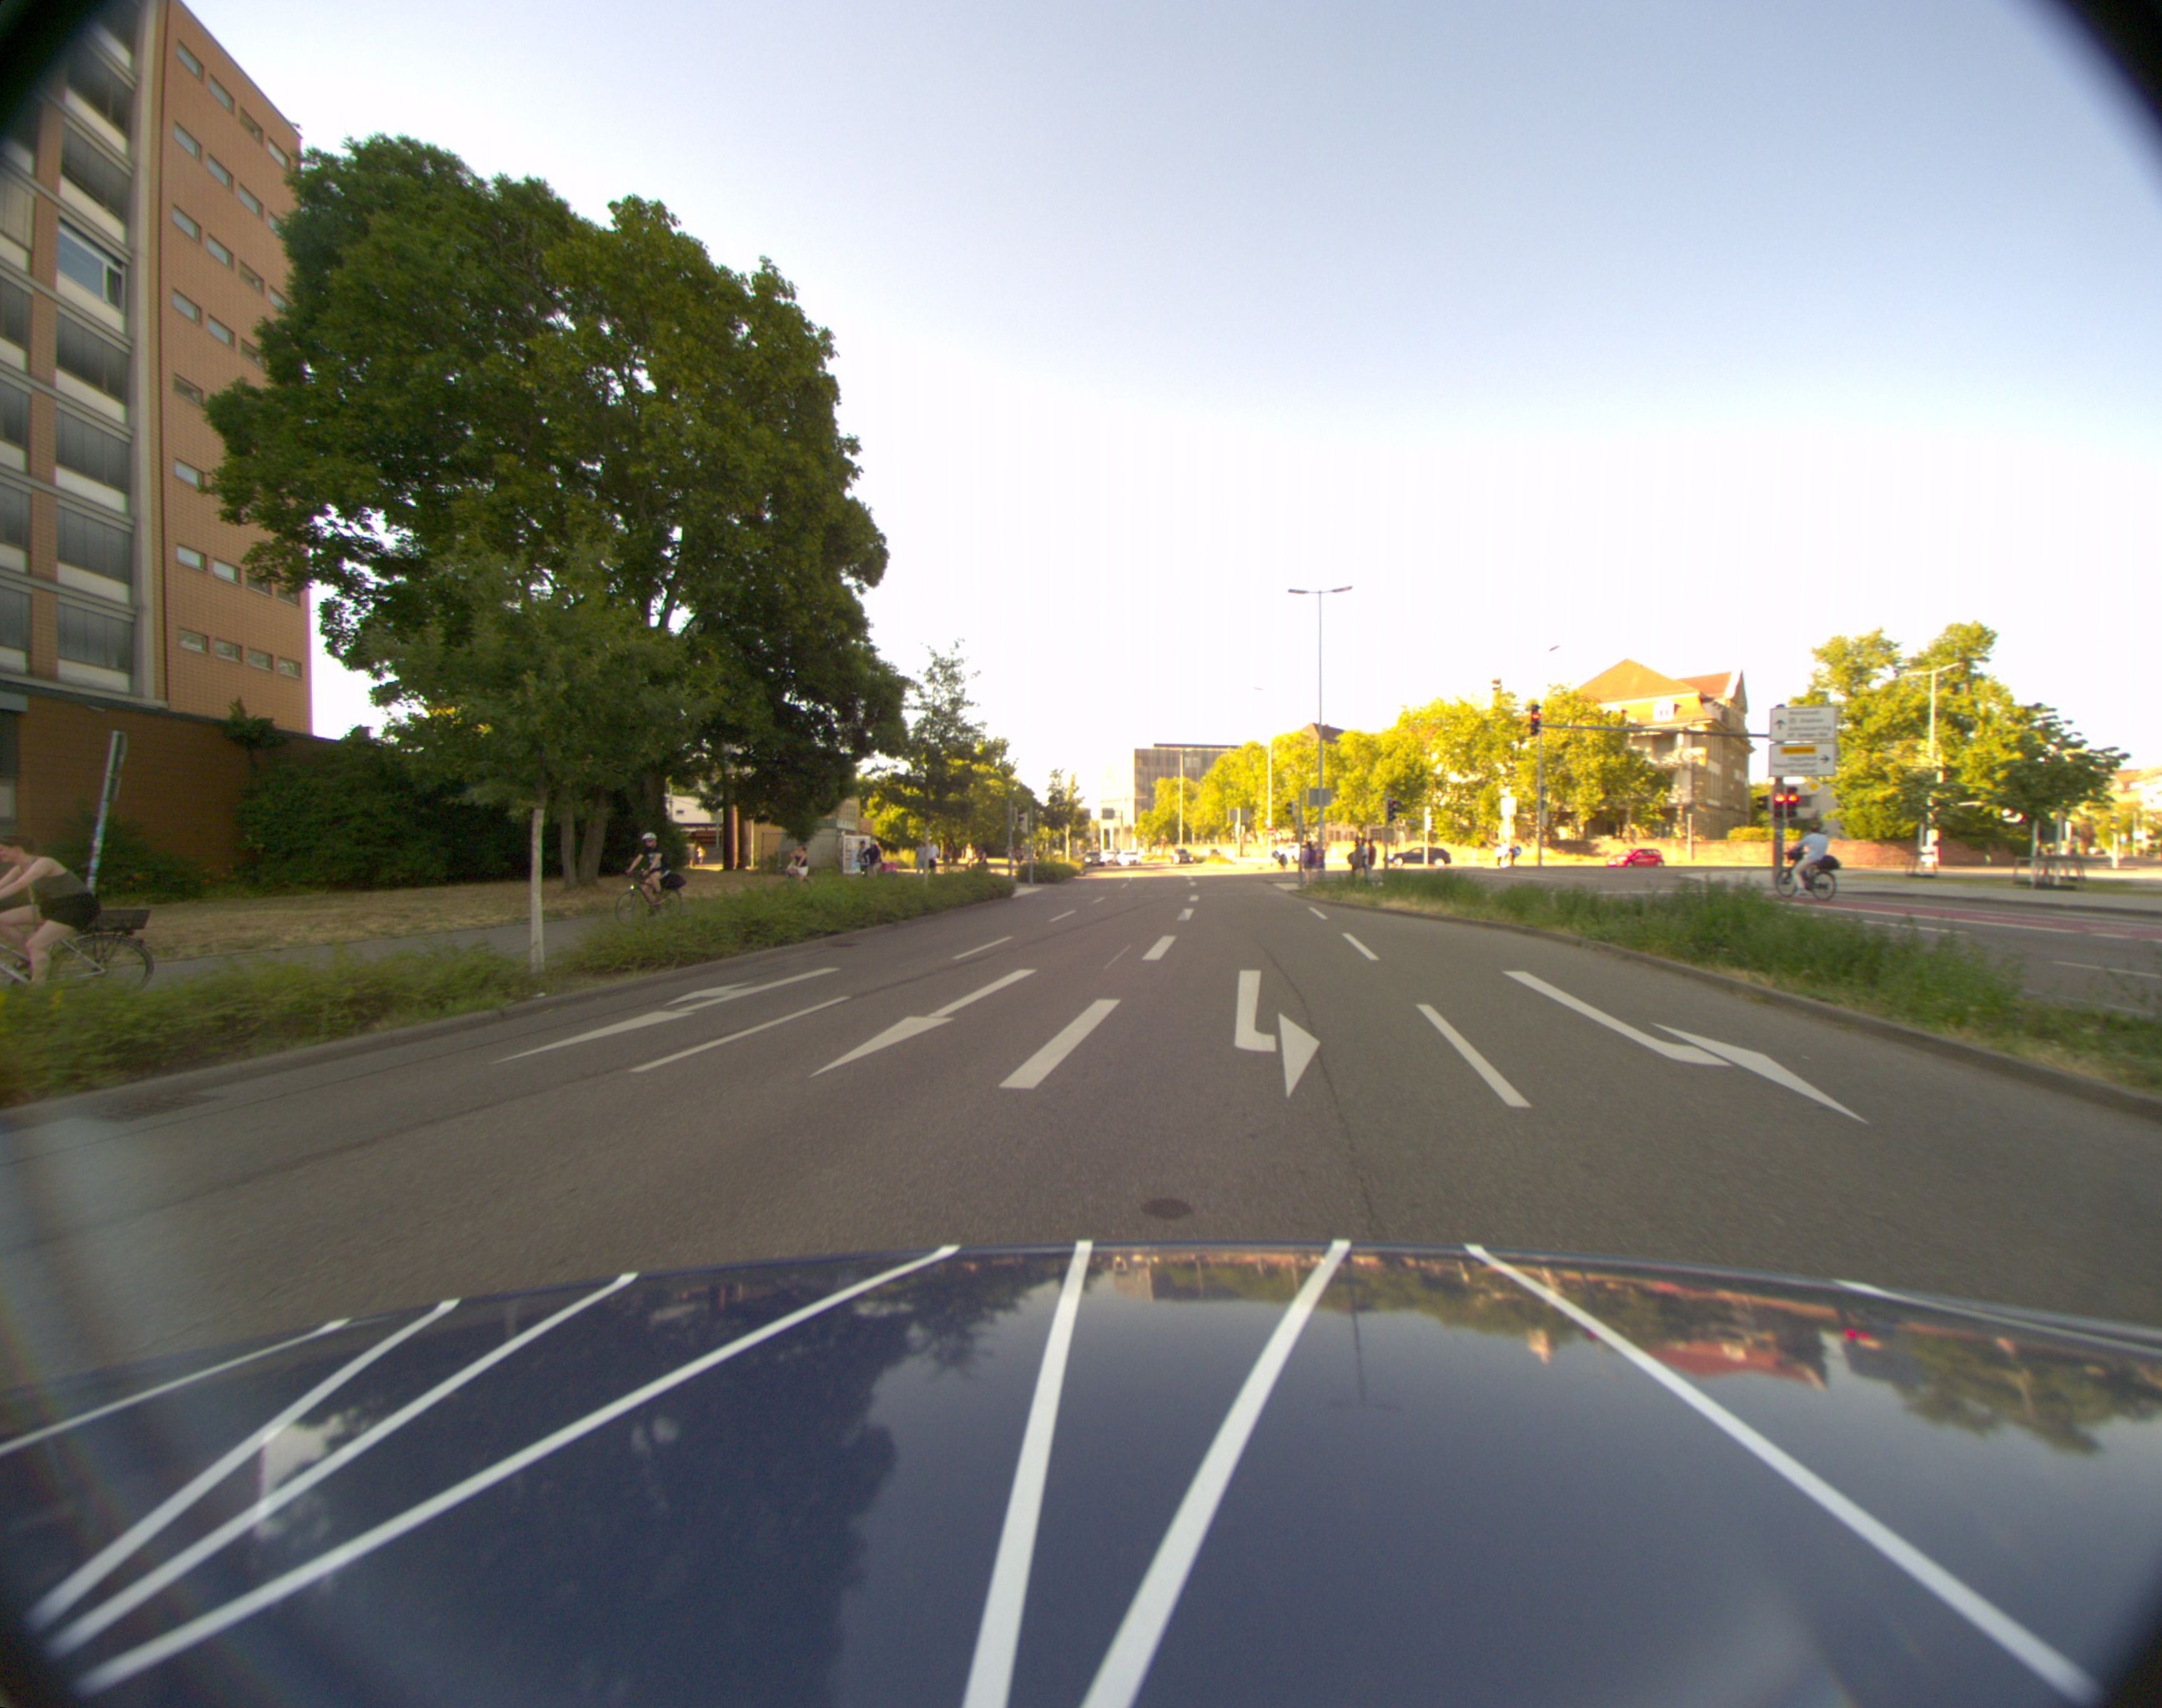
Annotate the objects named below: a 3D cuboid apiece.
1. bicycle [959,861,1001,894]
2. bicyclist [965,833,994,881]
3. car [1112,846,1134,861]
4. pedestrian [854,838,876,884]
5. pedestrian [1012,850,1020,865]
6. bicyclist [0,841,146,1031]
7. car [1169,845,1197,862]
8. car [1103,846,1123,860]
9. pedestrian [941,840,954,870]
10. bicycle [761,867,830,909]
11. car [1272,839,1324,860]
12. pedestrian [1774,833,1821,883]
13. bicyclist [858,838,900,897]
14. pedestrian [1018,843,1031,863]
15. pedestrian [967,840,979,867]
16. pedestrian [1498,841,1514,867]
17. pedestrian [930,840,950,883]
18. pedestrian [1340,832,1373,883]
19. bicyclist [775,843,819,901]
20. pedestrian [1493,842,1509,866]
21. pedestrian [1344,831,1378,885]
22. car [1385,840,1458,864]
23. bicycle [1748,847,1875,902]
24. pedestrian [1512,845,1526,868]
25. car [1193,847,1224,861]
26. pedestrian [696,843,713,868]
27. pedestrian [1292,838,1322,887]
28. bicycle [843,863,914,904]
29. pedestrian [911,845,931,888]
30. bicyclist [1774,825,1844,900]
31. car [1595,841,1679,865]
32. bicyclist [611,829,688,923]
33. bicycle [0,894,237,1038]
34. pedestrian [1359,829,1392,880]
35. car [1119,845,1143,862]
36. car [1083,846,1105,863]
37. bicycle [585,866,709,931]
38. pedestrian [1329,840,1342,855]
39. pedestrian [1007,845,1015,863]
[{"bbox_3d":[-3.805,0.877,28.724,0.718,1.115,2.069,-2,1,18],"label":"bicycle"},{"bbox_3d":[-3.839,0.118,28.692,0.716,1.778,0.850,-2,1,18],"label":"bicyclist"},{"bbox_3d":[4.283,-0.075,78.176,1.924,1.510,4.016,0,1,-2],"label":"car"},{"bbox_3d":[-8.029,0.266,28.233,0.622,1.689,0.630,0,1,3],"label":"pedestrian"},{"bbox_3d":[-6.585,0.350,76.717,0.763,1.534,0.846,0,1,-11],"label":"pedestrian"},{"bbox_3d":[-9.884,0.725,7.188,0.779,1.668,1.094,3,2,19],"label":"bicyclist"},{"bbox_3d":[9.426,-0.107,70.750,1.924,1.510,4.016,0,1,-2],"label":"car"},{"bbox_3d":[3.518,-0.160,84.827,1.924,1.510,4.016,0,1,-2],"label":"car"},{"bbox_3d":[-7.055,0.049,40.270,0.622,1.565,0.639,0,1,-6],"label":"pedestrian"},{"bbox_3d":[-7.770,0.909,20.791,0.718,1.114,1.872,-1,-1,20],"label":"bicycle"},{"bbox_3d":[18.352,-0.342,64.474,2.197,1.673,4.601,0,-1,-15],"label":"car"},{"bbox_3d":[24.592,0.134,26.104,0.898,1.675,0.748,0,1,10],"label":"pedestrian"},{"bbox_3d":[-6.378,0.402,24.000,0.778,1.823,1.095,0,1,21],"label":"bicyclist"},{"bbox_3d":[-4.979,-0.098,66.612,1.019,1.739,0.849,0,1,-11],"label":"pedestrian"},{"bbox_3d":[-6.781,-0.020,47.720,0.676,1.694,0.876,0,1,-11],"label":"pedestrian"},{"bbox_3d":[31.608,0.012,56.525,0.871,1.884,0.713,1,5,17],"label":"pedestrian"},{"bbox_3d":[-6.226,0.319,33.564,0.624,1.859,0.575,-1,2,-45],"label":"pedestrian"},{"bbox_3d":[9.348,0.113,25.780,0.926,1.731,0.757,0,1,10],"label":"pedestrian"},{"bbox_3d":[-7.770,0.489,20.810,0.716,1.539,0.851,-1,-1,20],"label":"bicyclist"},{"bbox_3d":[30.937,0.007,55.937,0.871,1.665,0.713,1,5,17],"label":"pedestrian"},{"bbox_3d":[9.201,0.132,24.981,0.926,1.731,0.757,0,1,10],"label":"pedestrian"},{"bbox_3d":[24.045,-0.078,53.745,4.595,1.576,2.200,-1,-1,25],"label":"car"},{"bbox_3d":[18.100,0.459,18.932,0.741,1.248,2.556,-1,1,2],"label":"bicycle"},{"bbox_3d":[32.885,0.159,57.092,0.791,1.644,0.714,3,6,36],"label":"pedestrian"},{"bbox_3d":[16.026,-0.010,95.807,2.158,1.611,4.355,-1,1,-18],"label":"car"},{"bbox_3d":[-31.404,0.111,63.416,0.899,2.002,0.868,0,1,1],"label":"pedestrian"},{"bbox_3d":[8.163,0.290,27.457,0.926,1.731,0.757,0,1,10],"label":"pedestrian"},{"bbox_3d":[-6.362,0.896,24.033,0.778,1.149,2.584,0,1,21],"label":"bicycle"},{"bbox_3d":[-7.038,0.544,33.478,0.624,1.859,0.575,-1,2,-45],"label":"pedestrian"},{"bbox_3d":[18.106,0.192,18.918,0.741,1.822,1.013,-1,2,2],"label":"bicyclist"},{"bbox_3d":[38.987,-0.057,53.319,4.608,1.576,2.193,0,-1,-12],"label":"car"},{"bbox_3d":[-8.691,0.420,15.342,0.779,1.820,1.094,0,1,14],"label":"bicyclist"},{"bbox_3d":[-9.874,1.049,7.256,0.778,1.149,2.294,3,2,19],"label":"bicycle"},{"bbox_3d":[10.218,0.016,26.422,0.926,1.731,0.788,0,1,10],"label":"pedestrian"},{"bbox_3d":[4.622,-0.053,70.843,1.802,1.510,4.430,0,1,-2],"label":"car"},{"bbox_3d":[1.181,0.016,69.087,1.802,1.510,3.998,0,1,-2],"label":"car"},{"bbox_3d":[-8.688,0.852,15.350,0.779,1.149,2.293,0,1,14],"label":"bicycle"},{"bbox_3d":[25.649,-0.638,76.510,0.974,1.528,0.922,0,1,-5],"label":"pedestrian"},{"bbox_3d":[-6.393,-0.008,68.992,0.712,1.703,0.733,0,1,-6],"label":"pedestrian"}]
